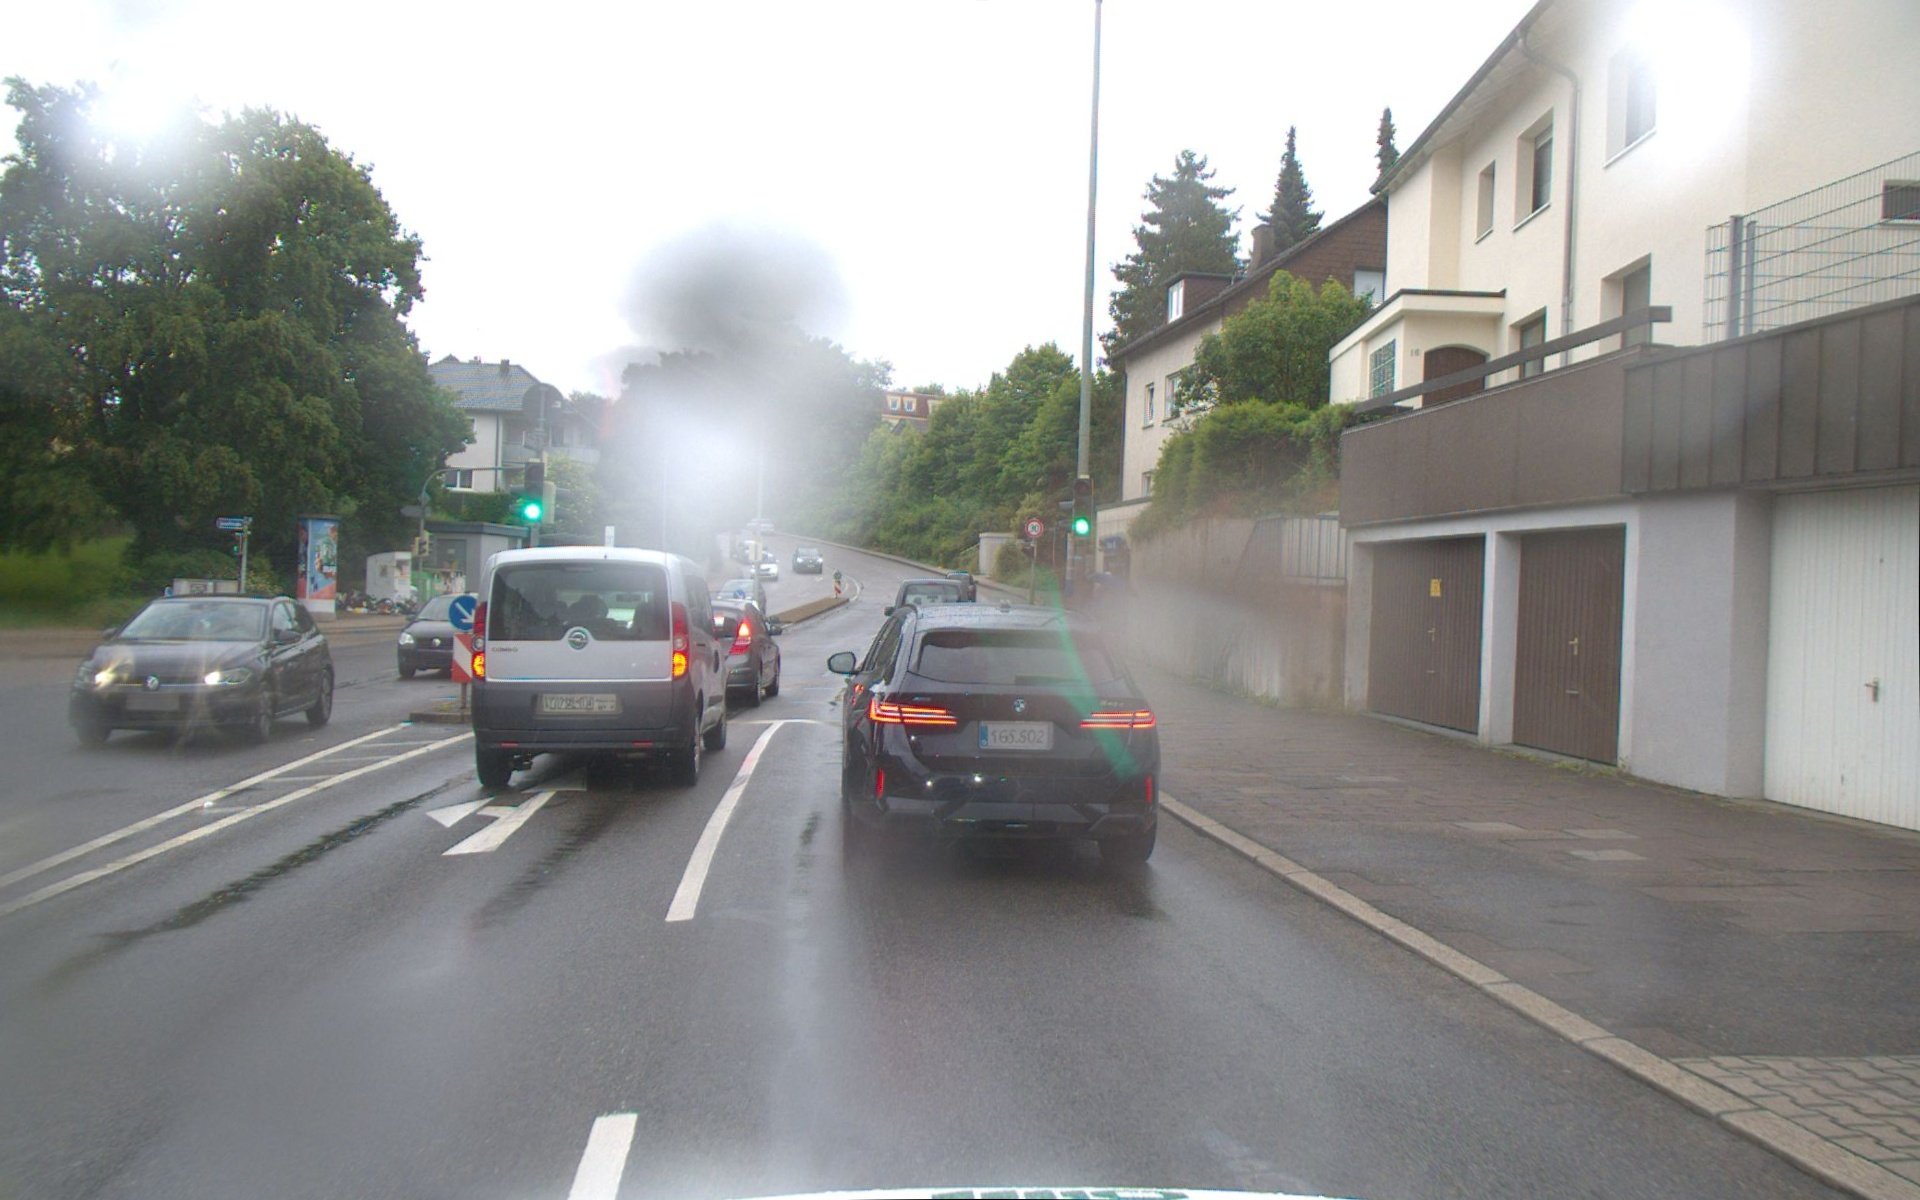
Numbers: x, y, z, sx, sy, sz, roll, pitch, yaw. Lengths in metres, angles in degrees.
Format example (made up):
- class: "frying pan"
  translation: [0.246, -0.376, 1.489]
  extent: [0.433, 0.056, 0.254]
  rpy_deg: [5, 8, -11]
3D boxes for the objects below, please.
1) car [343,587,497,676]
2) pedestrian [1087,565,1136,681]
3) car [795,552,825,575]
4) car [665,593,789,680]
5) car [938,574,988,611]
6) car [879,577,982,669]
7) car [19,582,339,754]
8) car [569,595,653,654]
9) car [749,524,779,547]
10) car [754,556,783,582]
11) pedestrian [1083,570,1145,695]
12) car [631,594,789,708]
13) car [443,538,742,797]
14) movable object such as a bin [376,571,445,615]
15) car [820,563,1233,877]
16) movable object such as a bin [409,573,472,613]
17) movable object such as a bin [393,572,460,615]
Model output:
- class: "car"
  translation: [-9.771, 0.520, 30.207]
  extent: [1.817, 1.489, 3.995]
  rpy_deg: [1, 0, -6]
- class: "pedestrian"
  translation: [2.736, 0.415, 29.916]
  extent: [0.781, 2.049, 0.734]
  rpy_deg: [1, -1, -2]
- class: "car"
  translation: [-10.395, -2.512, 114.485]
  extent: [1.806, 1.579, 4.376]
  rpy_deg: [0, 0, -8]
- class: "car"
  translation: [-4.437, 0.667, 32.126]
  extent: [1.869, 1.555, 4.650]
  rpy_deg: [1, 0, -2]
- class: "car"
  translation: [0.129, -0.391, 80.453]
  extent: [1.817, 1.690, 3.993]
  rpy_deg: [1, 1, -9]
- class: "car"
  translation: [-0.668, 0.445, 34.292]
  extent: [1.954, 1.779, 3.997]
  rpy_deg: [0, 0, -4]
- class: "car"
  translation: [-7.754, 0.620, 16.844]
  extent: [1.679, 1.529, 3.995]
  rpy_deg: [1, 0, -6]
- class: "car"
  translation: [-9.815, 0.664, 46.781]
  extent: [1.800, 1.583, 4.764]
  rpy_deg: [0, 0, -6]
- class: "car"
  translation: [-18.805, -6.171, 158.781]
  extent: [1.965, 2.049, 3.974]
  rpy_deg: [0, 0, -21]
- class: "car"
  translation: [-12.377, -1.989, 106.974]
  extent: [1.788, 1.686, 4.461]
  rpy_deg: [0, 0, -6]
- class: "pedestrian"
  translation: [2.294, 0.479, 24.740]
  extent: [0.777, 1.811, 1.011]
  rpy_deg: [-1, 0, -2]
- class: "car"
  translation: [-3.555, 0.684, 24.187]
  extent: [1.798, 1.513, 4.057]
  rpy_deg: [1, 0, -2]
- class: "car"
  translation: [-3.022, 0.493, 14.585]
  extent: [1.913, 1.903, 4.742]
  rpy_deg: [0, 0, -4]
- class: "movable object such as a bin"
  translation: [-20.710, -0.265, 62.401]
  extent: [2.014, 1.596, 1.582]
  rpy_deg: [0, 2, 3]
- class: "car"
  translation: [0.174, 0.685, 10.990]
  extent: [1.956, 1.614, 4.655]
  rpy_deg: [2, -1, -8]
- class: "movable object such as a bin"
  translation: [-20.552, -0.291, 65.470]
  extent: [2.014, 1.541, 1.345]
  rpy_deg: [0, 2, 3]
- class: "movable object such as a bin"
  translation: [-20.639, -0.246, 64.001]
  extent: [2.014, 1.596, 1.582]
  rpy_deg: [0, 2, 3]
